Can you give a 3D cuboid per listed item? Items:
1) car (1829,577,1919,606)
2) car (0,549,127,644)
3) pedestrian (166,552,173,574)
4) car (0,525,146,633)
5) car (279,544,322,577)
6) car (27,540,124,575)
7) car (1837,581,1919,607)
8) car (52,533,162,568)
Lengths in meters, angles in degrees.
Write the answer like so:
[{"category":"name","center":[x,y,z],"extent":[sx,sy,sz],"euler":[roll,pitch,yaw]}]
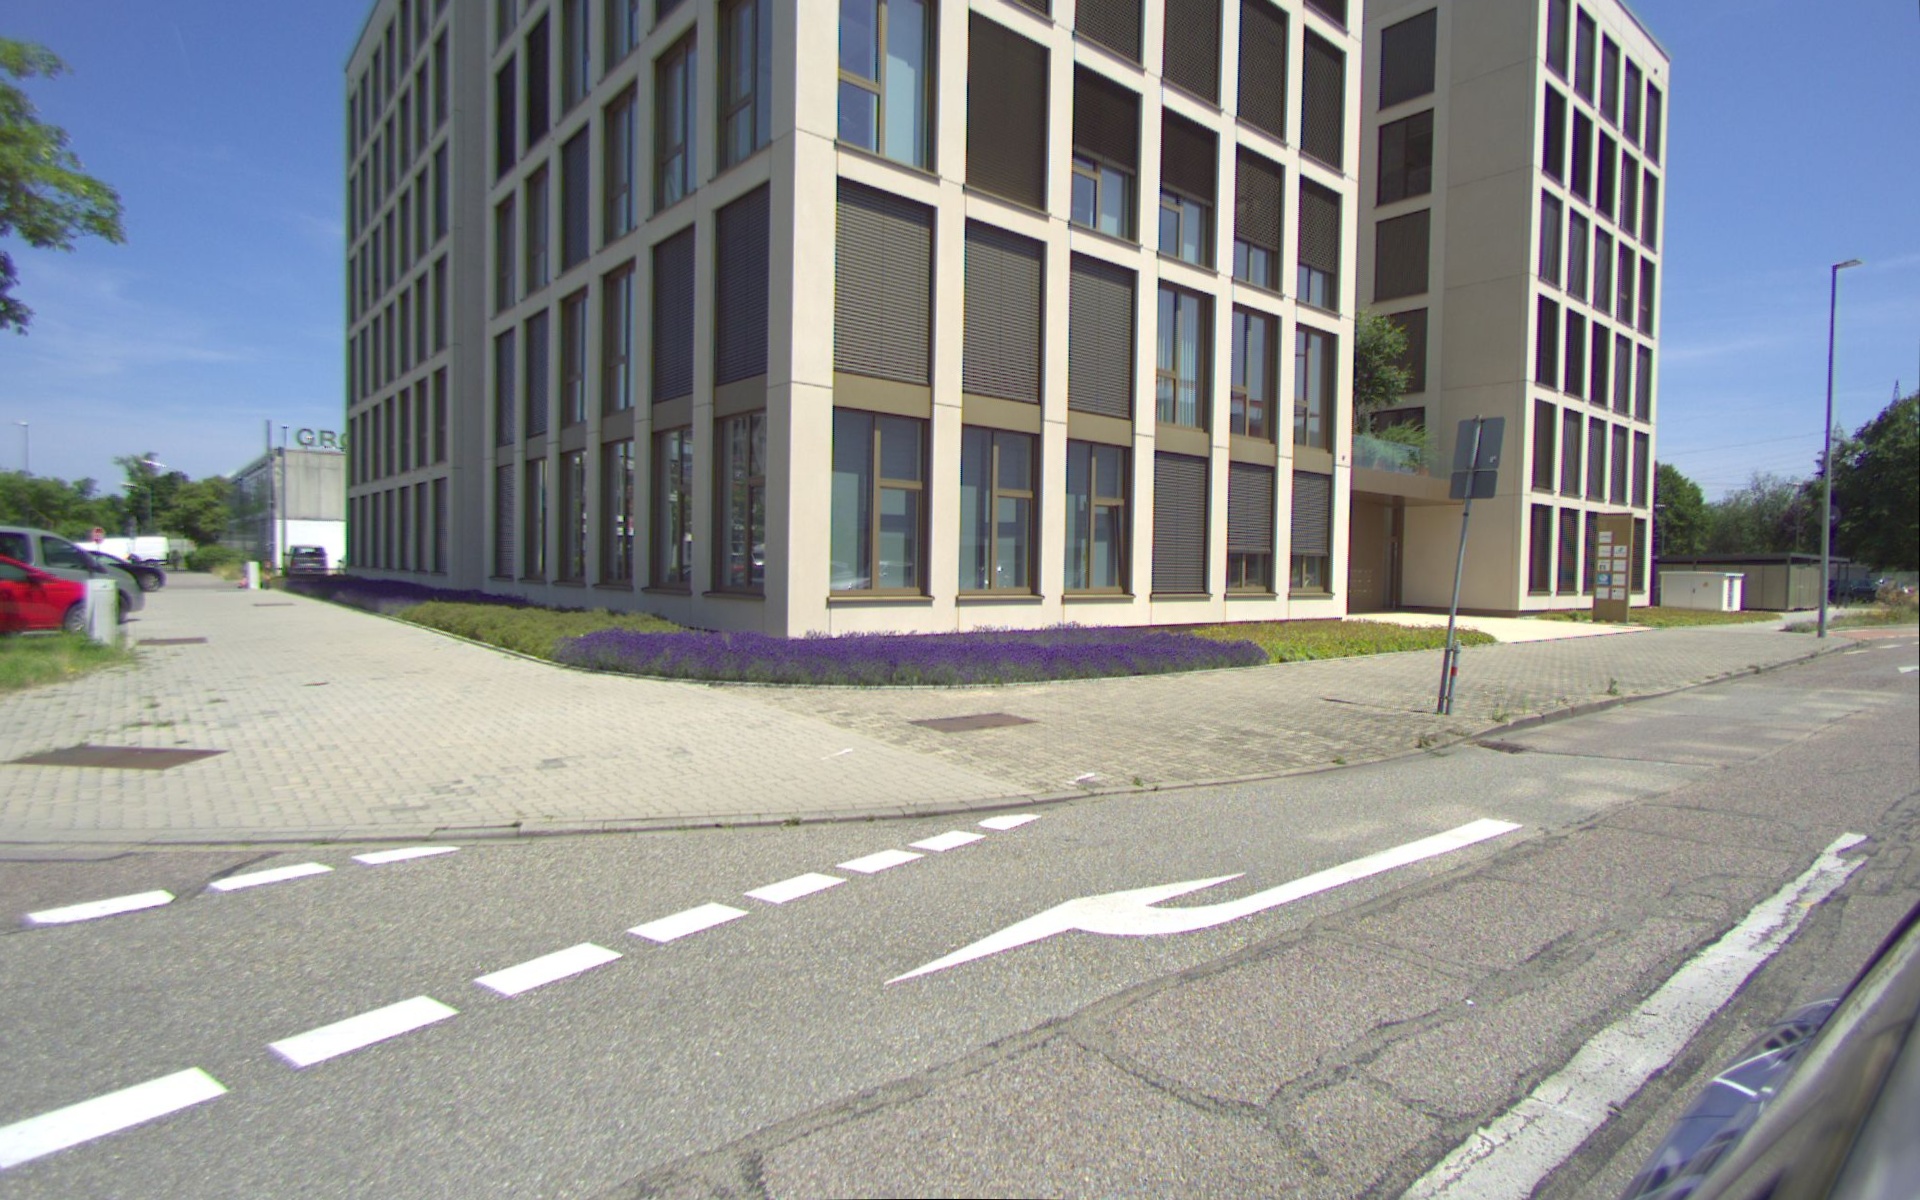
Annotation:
[{"category":"car","center":[53.720,-0.513,59.508],"extent":[3.810,1.571,1.716],"euler":[2,2,36]},{"category":"car","center":[-15.474,-0.059,15.567],"extent":[1.672,1.449,3.990],"euler":[1,3,10]},{"category":"pedestrian","center":[-57.290,-2.662,73.319],"extent":[0.397,1.579,0.549],"euler":[0,2,-39]},{"category":"car","center":[-17.899,-0.400,18.461],"extent":[1.886,1.910,4.927],"euler":[1,1,5]},{"category":"car","center":[-38.076,-2.230,58.409],"extent":[1.763,1.749,3.997],"euler":[0,0,-38]},{"category":"car","center":[-55.155,-2.620,63.226],"extent":[4.495,2.039,1.997],"euler":[-1,0,-40]},{"category":"car","center":[55.284,-0.376,60.752],"extent":[3.810,1.411,1.716],"euler":[2,2,36]},{"category":"car","center":[-67.254,-3.859,79.959],"extent":[6.573,2.552,2.217],"euler":[-1,0,-38]}]
